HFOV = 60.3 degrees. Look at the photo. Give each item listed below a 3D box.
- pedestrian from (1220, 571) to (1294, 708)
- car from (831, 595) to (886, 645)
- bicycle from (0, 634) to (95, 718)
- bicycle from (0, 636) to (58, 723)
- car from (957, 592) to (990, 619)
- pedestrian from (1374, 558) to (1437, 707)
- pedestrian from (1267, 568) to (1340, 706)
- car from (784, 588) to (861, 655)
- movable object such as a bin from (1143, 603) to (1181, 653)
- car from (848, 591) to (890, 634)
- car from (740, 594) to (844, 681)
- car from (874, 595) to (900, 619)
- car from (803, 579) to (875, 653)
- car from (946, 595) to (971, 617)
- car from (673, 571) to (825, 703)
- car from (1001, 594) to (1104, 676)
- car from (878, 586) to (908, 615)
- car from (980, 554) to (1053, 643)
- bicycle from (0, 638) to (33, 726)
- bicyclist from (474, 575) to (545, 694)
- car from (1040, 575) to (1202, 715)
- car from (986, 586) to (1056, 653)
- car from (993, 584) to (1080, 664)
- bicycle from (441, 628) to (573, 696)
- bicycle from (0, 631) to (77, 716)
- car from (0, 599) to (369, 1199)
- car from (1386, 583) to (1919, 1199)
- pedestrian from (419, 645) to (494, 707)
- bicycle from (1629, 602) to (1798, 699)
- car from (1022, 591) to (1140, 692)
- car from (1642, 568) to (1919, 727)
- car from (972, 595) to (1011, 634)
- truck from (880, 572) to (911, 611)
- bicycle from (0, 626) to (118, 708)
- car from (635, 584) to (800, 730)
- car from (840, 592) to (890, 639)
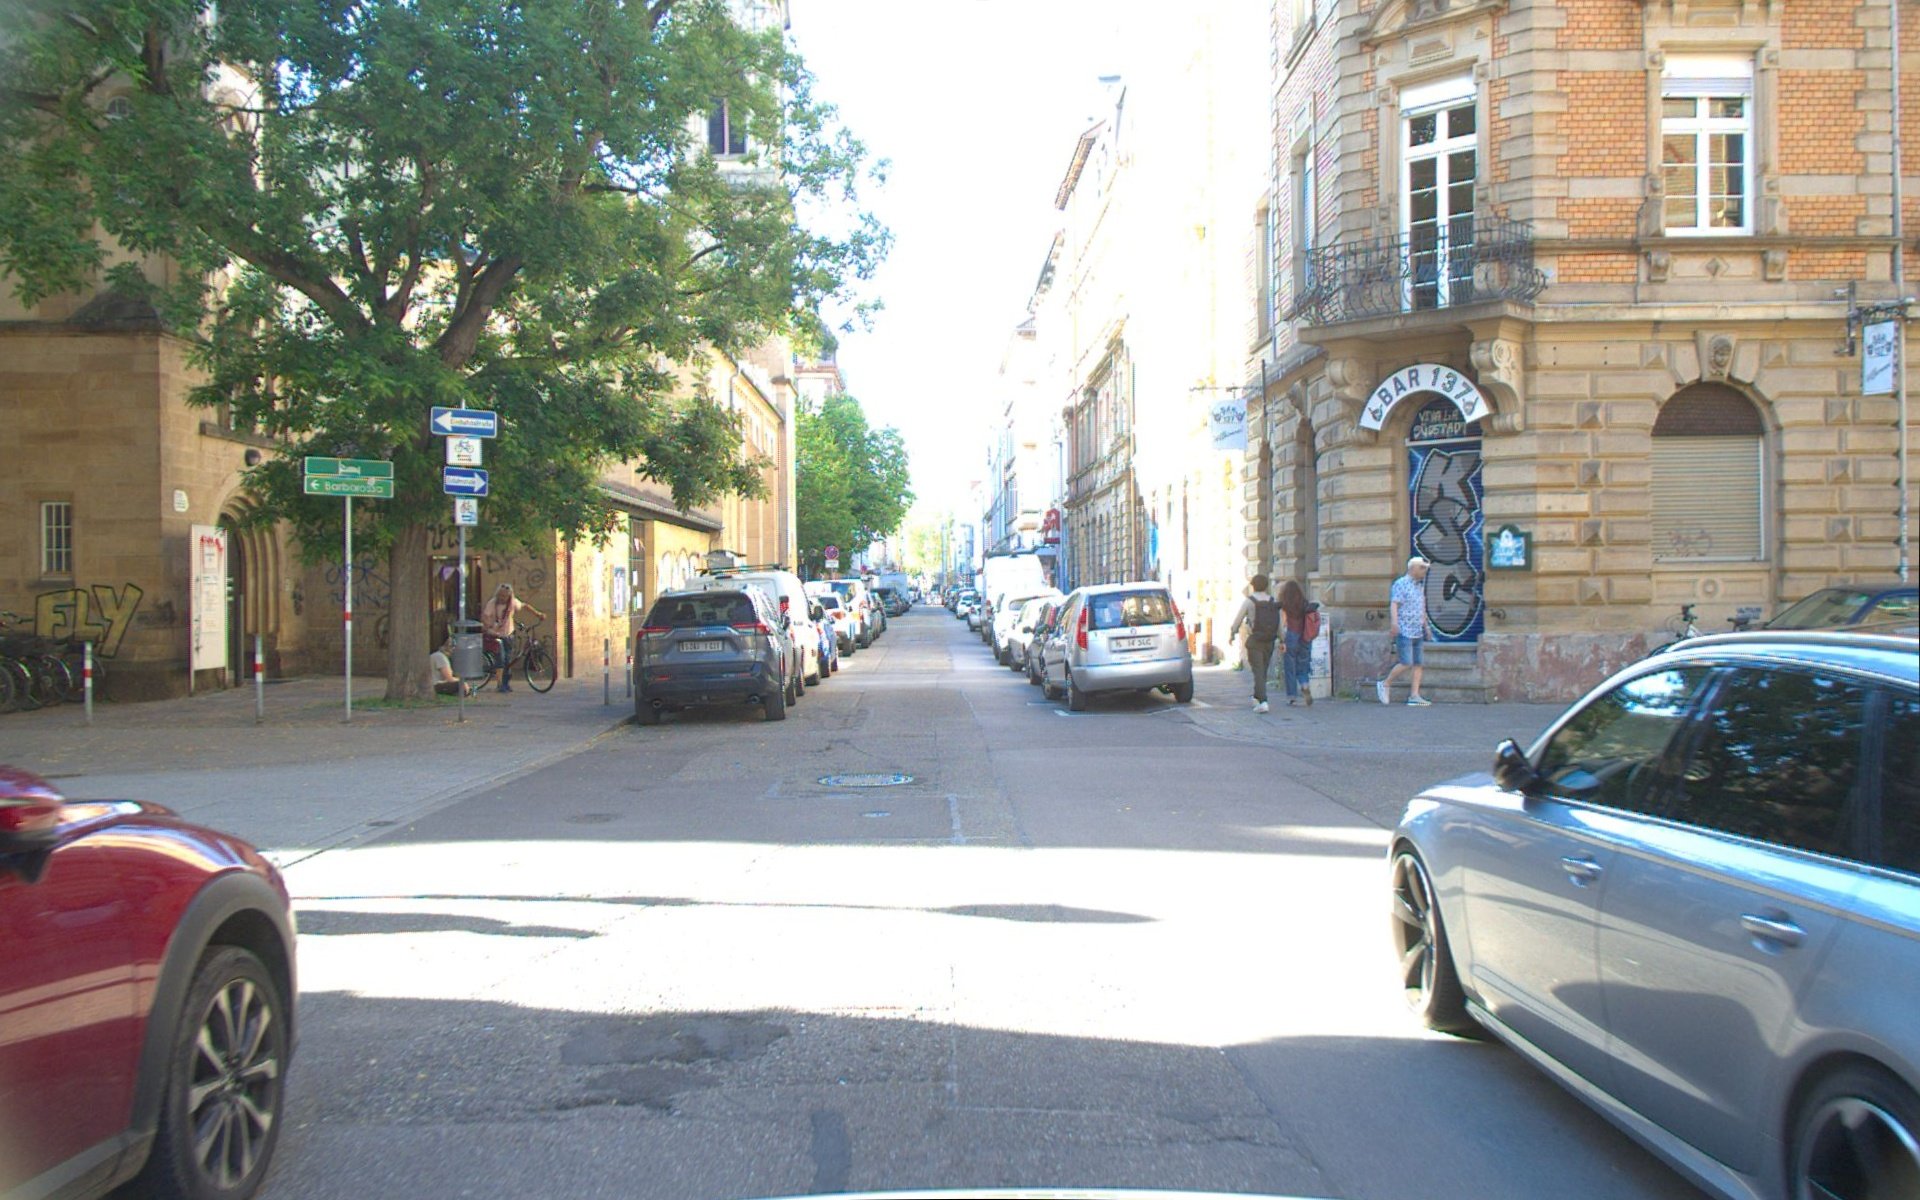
[{"bbox_3d":[3.652,0.470,20.364,0.581,1.632,0.724,-2,1,-16],"label":"pedestrian"},{"bbox_3d":[-3.311,0.627,54.534,1.582,1.477,3.949,-3,0,-1],"label":"car"},{"bbox_3d":[-12.635,1.024,22.223,1.740,1.073,0.478,-1,1,-2],"label":"bicycle"},{"bbox_3d":[-12.653,1.033,21.315,1.740,1.073,0.478,-1,1,-2],"label":"bicycle"},{"bbox_3d":[0.783,0.288,97.020,1.859,1.514,3.869,-1,0,-1],"label":"car"},{"bbox_3d":[5.401,0.382,20.052,0.648,1.763,0.576,-2,1,18],"label":"pedestrian"},{"bbox_3d":[4.261,0.449,20.549,0.564,1.650,0.731,-2,1,-15],"label":"pedestrian"},{"bbox_3d":[-3.518,0.522,42.745,1.707,1.614,3.868,-1,0,-1],"label":"car"},{"bbox_3d":[4.520,0.631,37.036,0.543,1.071,0.596,-4,1,-34],"label":"movable object such as a bin"},{"bbox_3d":[-3.804,0.498,69.613,1.568,1.642,3.807,-3,0,-2],"label":"car"},{"bbox_3d":[-3.210,0.683,32.297,1.653,1.502,3.859,-3,0,-1],"label":"car"},{"bbox_3d":[-5.755,0.567,130.440,1.839,1.828,3.996,-1,0,-5],"label":"car"},{"bbox_3d":[-3.507,0.445,48.649,1.827,1.991,4.609,-3,0,-2],"label":"car"},{"bbox_3d":[-0.124,0.452,131.078,1.953,1.660,3.999,1,0,-1],"label":"car"},{"bbox_3d":[-3.263,0.510,26.372,1.808,1.894,4.465,-1,1,0],"label":"car"},{"bbox_3d":[1.818,0.663,33.521,1.541,1.552,3.904,1,0,-5],"label":"car"},{"bbox_3d":[-4.380,0.027,108.946,1.837,1.828,3.999,-1,0,-1],"label":"car"},{"bbox_3d":[1.723,-0.071,52.646,2.026,2.656,5.887,-1,0,-1],"label":"car"},{"bbox_3d":[-12.715,1.044,20.816,1.740,1.073,0.534,-1,1,-2],"label":"bicycle"},{"bbox_3d":[-6.807,0.508,25.021,0.788,1.753,0.692,1,1,7],"label":"bicyclist"},{"bbox_3d":[2.175,0.560,23.273,1.669,1.744,3.936,-2,0,-3],"label":"car"},{"bbox_3d":[1.584,0.492,44.157,1.653,1.671,3.923,-1,0,-1],"label":"car"},{"bbox_3d":[1.700,0.526,38.030,1.771,1.719,4.214,1,0,0],"label":"car"},{"bbox_3d":[-6.842,0.927,25.040,1.724,0.939,0.827,2,0,7],"label":"bicycle"},{"bbox_3d":[-12.612,0.968,21.699,1.740,1.073,0.478,-1,1,-2],"label":"bicycle"},{"bbox_3d":[-2.506,0.761,2.645,1.687,1.507,4.089,0,0,-1],"label":"car"},{"bbox_3d":[2.509,0.712,4.149,1.671,1.484,4.510,0,0,-1],"label":"car"},{"bbox_3d":[-7.047,1.054,23.141,0.904,0.792,0.697,-1,0,-25],"label":"pedestrian"},{"bbox_3d":[8.862,0.590,19.486,1.740,1.073,0.534,-2,0,-2],"label":"bicycle"},{"bbox_3d":[1.988,0.644,27.992,1.504,1.539,3.680,-2,0,-3],"label":"car"},{"bbox_3d":[9.254,0.433,16.840,3.899,1.477,1.733,-1,1,0],"label":"car"},{"bbox_3d":[1.267,0.569,68.469,1.571,1.531,4.000,0,0,0],"label":"car"},{"bbox_3d":[-5.734,-0.720,147.203,2.480,3.339,6.993,-1,0,-1],"label":"truck"},{"bbox_3d":[-12.628,0.919,22.802,1.740,1.073,0.478,-1,1,-2],"label":"bicycle"},{"bbox_3d":[-3.063,0.660,21.628,1.706,1.675,4.286,-1,0,-3],"label":"car"},{"bbox_3d":[-3.422,0.521,60.200,1.639,1.586,3.999,-2,0,-2],"label":"car"}]
